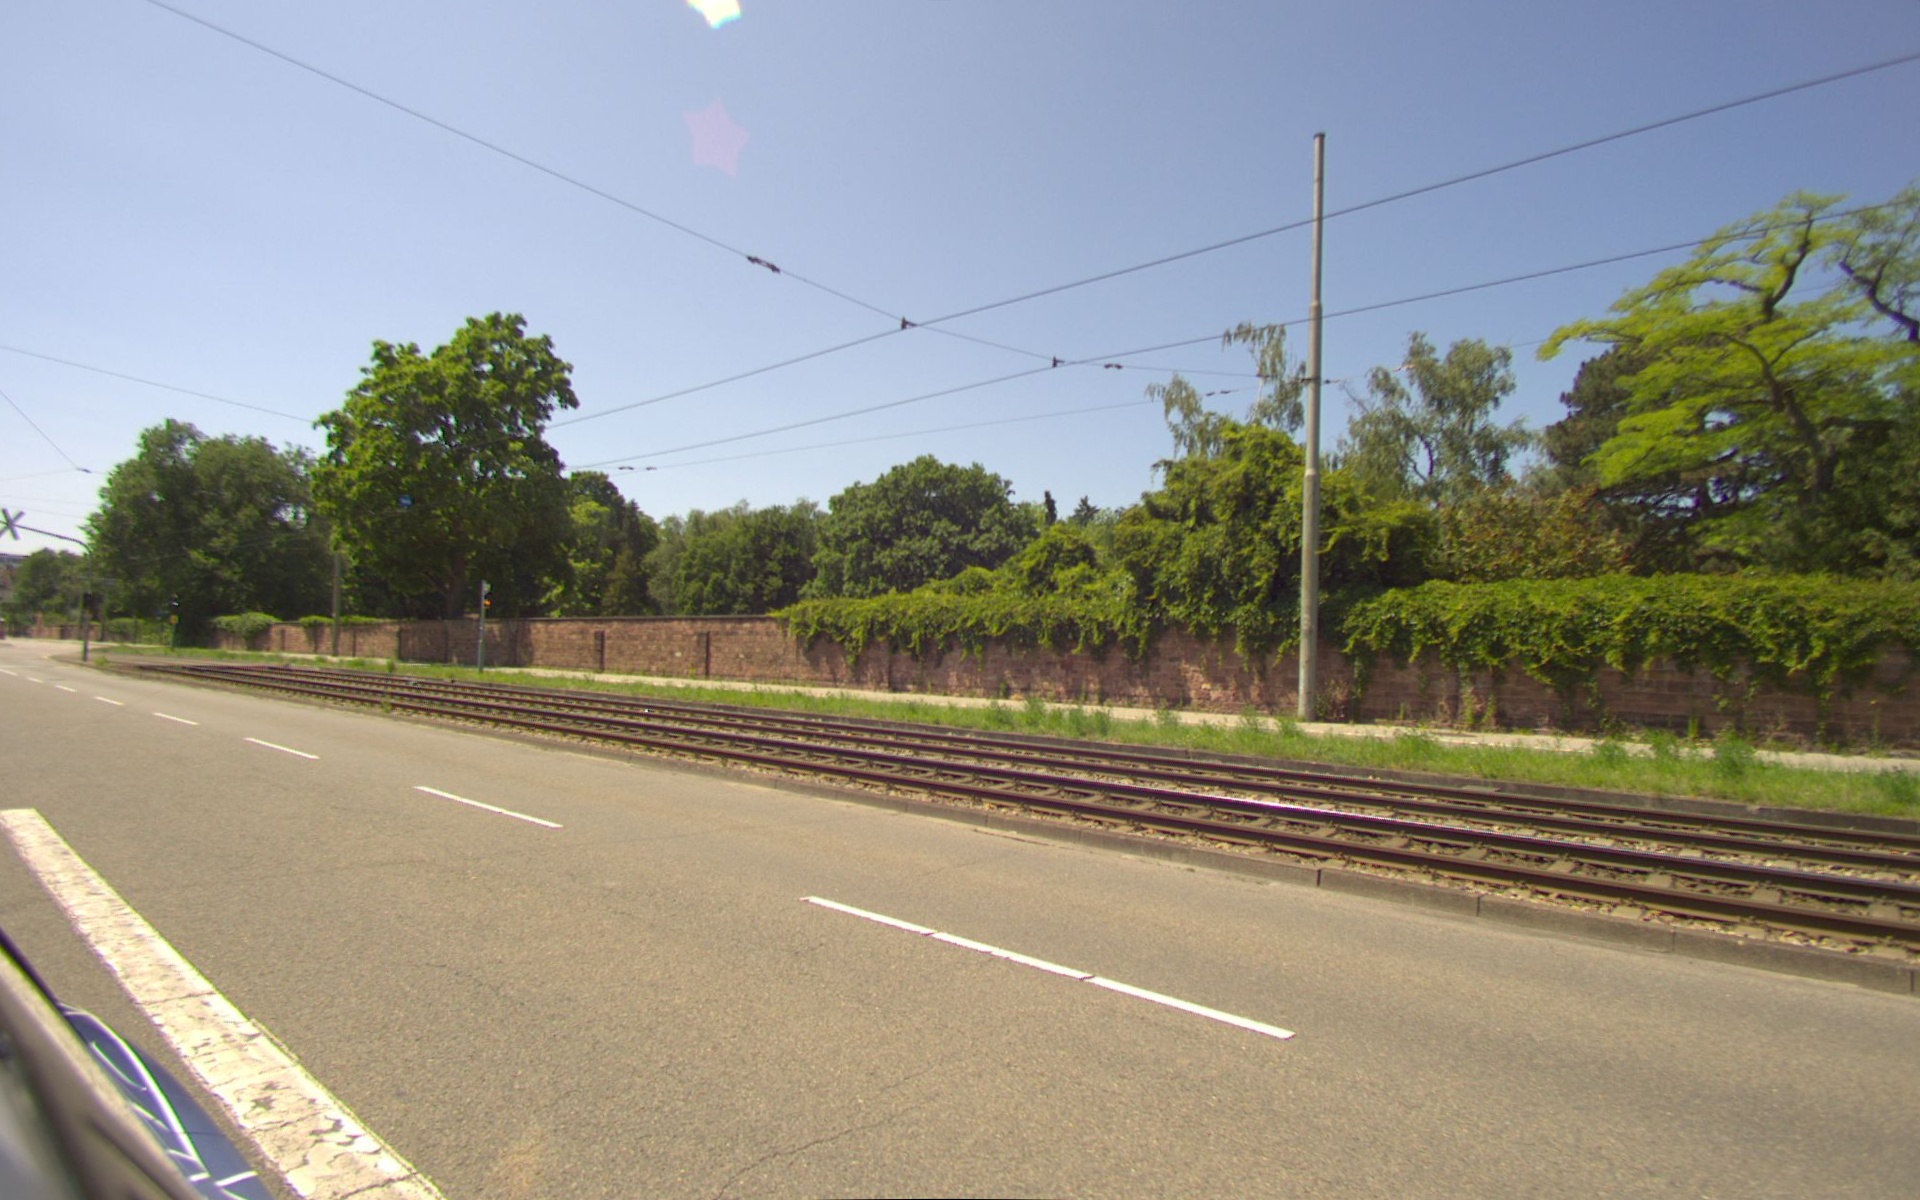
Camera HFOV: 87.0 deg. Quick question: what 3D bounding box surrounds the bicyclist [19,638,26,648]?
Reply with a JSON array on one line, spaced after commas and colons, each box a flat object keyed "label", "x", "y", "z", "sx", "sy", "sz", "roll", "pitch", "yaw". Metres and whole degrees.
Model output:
[{"label": "bicyclist", "x": -137.667, "y": 6.328, "z": 148.636, "sx": 0.662, "sy": 1.508, "sz": 0.645, "roll": -2, "pitch": -4, "yaw": 40}]

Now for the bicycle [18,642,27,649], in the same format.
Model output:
[{"label": "bicycle", "x": -137.648, "y": 6.699, "z": 148.599, "sx": 2.113, "sy": 0.964, "sz": 0.645, "roll": -2, "pitch": -4, "yaw": 40}]
